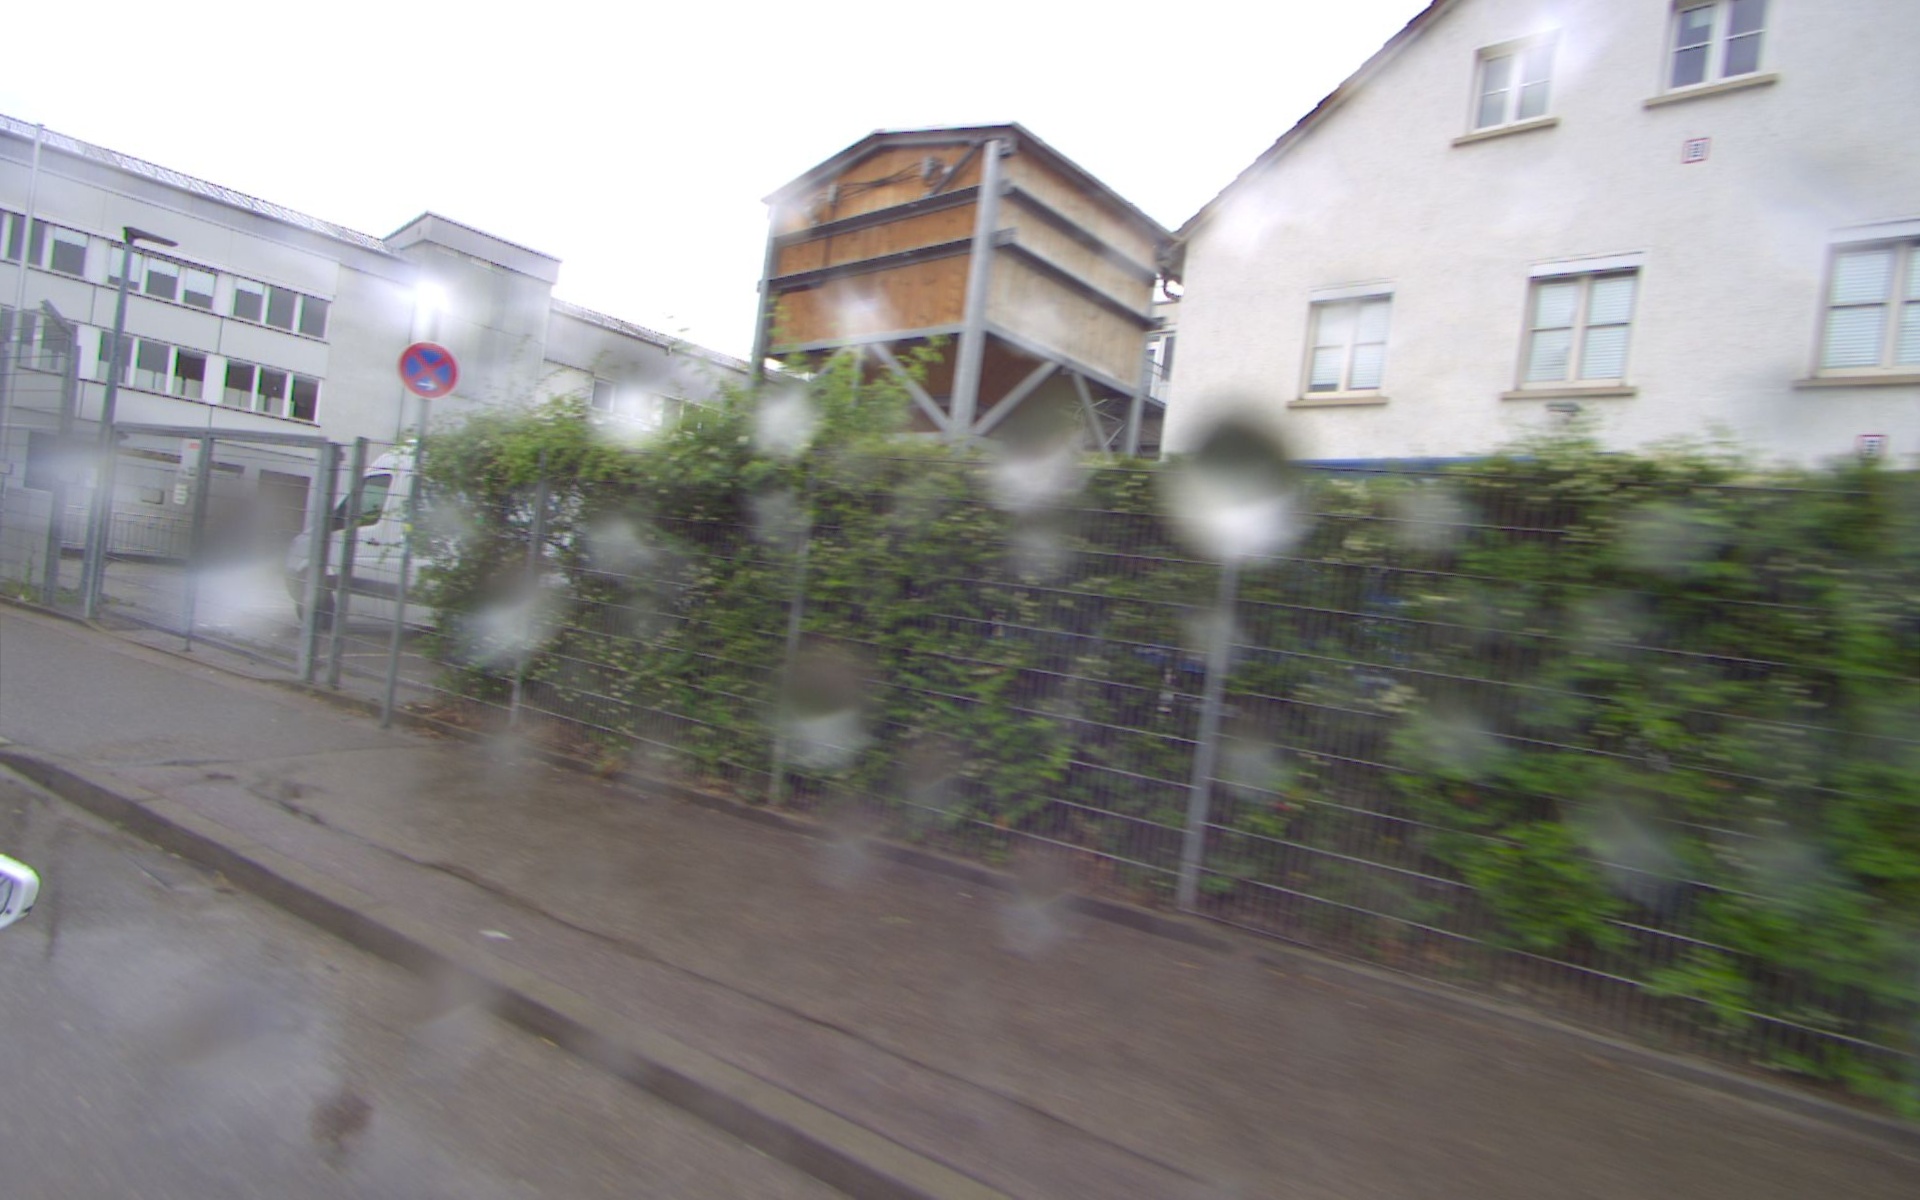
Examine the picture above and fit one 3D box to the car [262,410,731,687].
[{"bbox_3d":[-6.089,-0.746,13.039,5.844,2.719,1.997,8,2,24],"label":"car"}]
